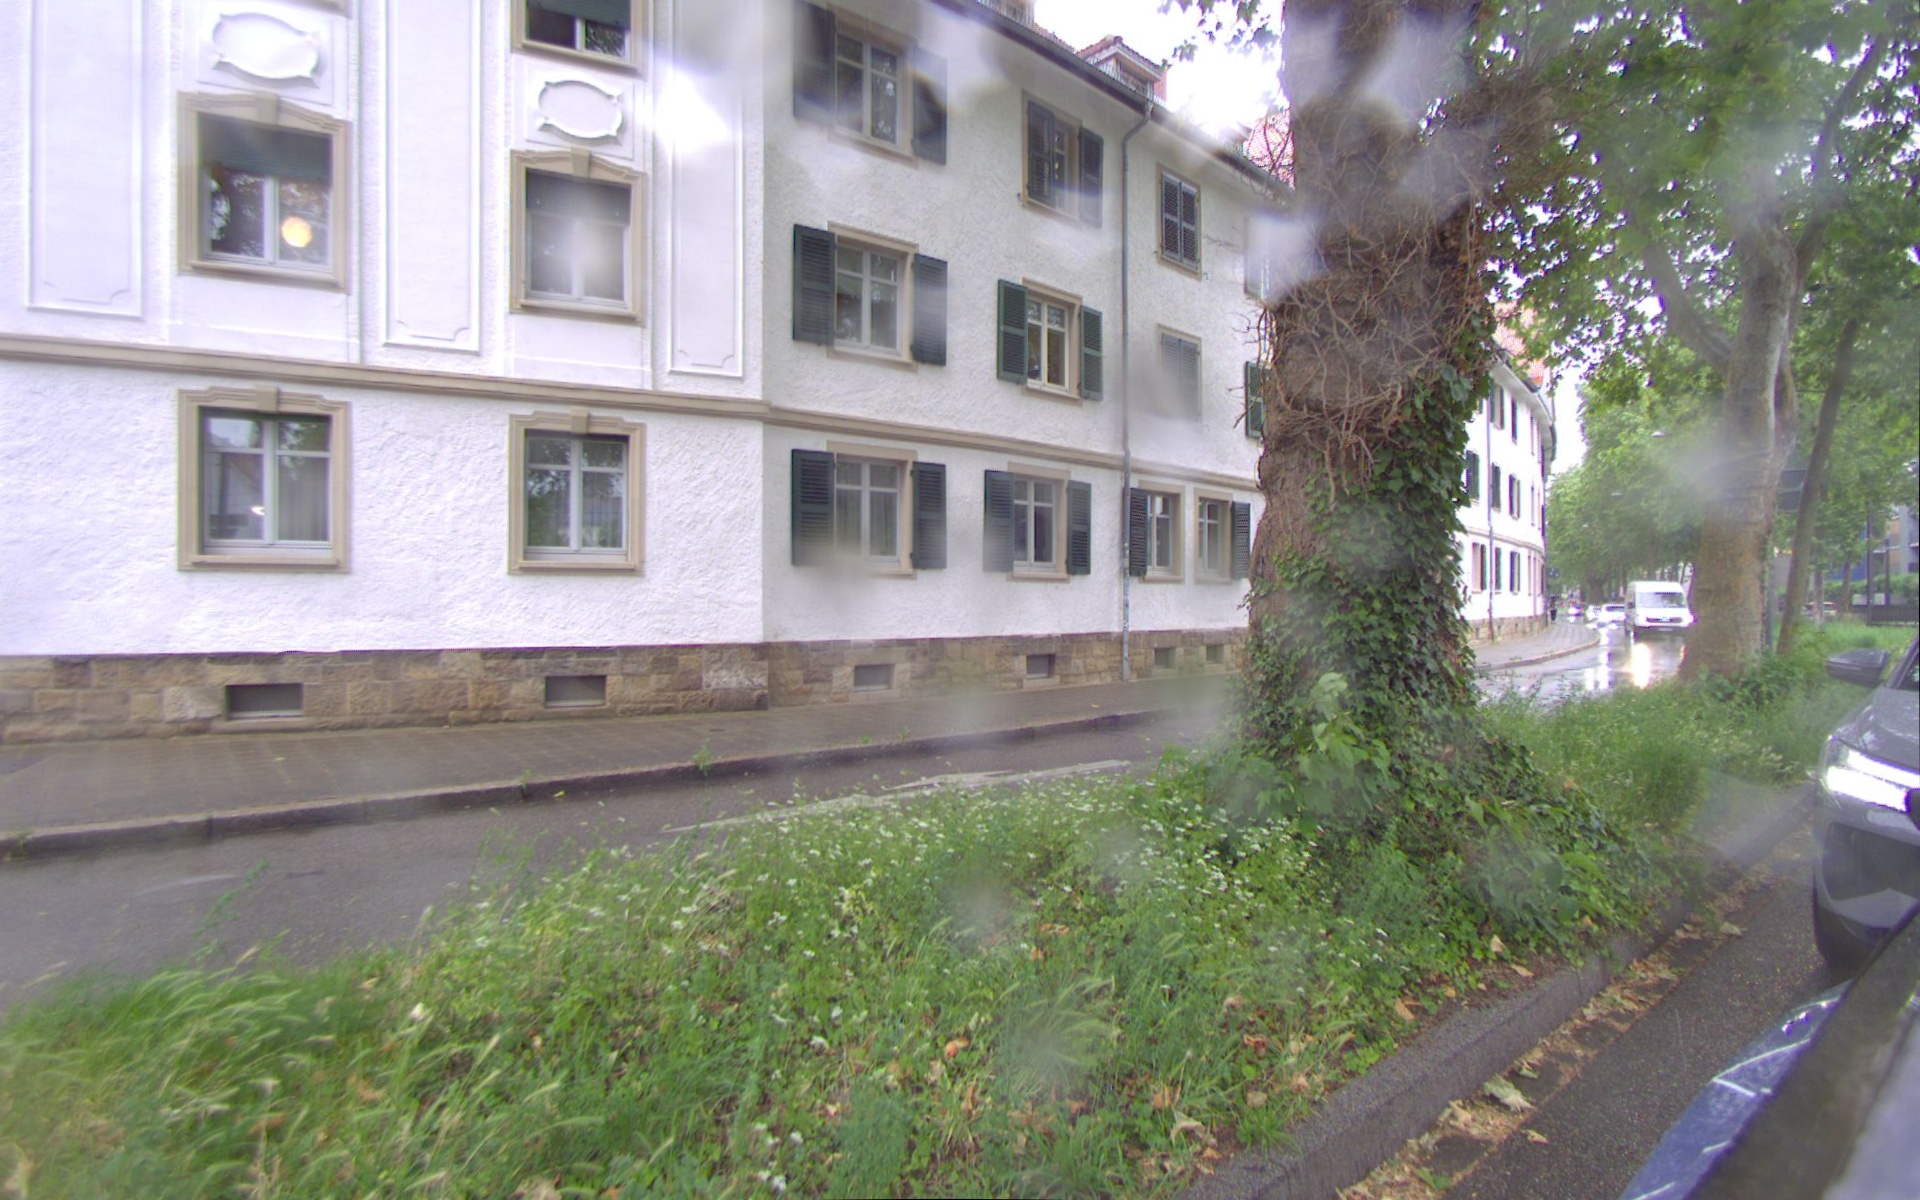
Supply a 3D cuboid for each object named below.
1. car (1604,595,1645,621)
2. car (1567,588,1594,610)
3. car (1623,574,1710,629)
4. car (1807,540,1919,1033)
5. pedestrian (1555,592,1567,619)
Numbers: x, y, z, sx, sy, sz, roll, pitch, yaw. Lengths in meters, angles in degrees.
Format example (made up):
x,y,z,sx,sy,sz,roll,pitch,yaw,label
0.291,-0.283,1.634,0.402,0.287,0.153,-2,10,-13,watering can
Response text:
x,y,z,sx,sy,sz,roll,pitch,yaw,label
41.425,0.452,63.132,1.816,1.545,3.959,0,0,29,car
64.716,-0.106,105.649,1.983,2.038,3.961,5,3,28,car
31.364,0.043,45.083,2.173,2.292,5.367,0,0,24,car
5.151,0.619,4.322,4.039,1.662,1.913,0,0,-44,car
40.216,0.356,67.690,0.668,1.845,0.672,0,0,31,pedestrian
